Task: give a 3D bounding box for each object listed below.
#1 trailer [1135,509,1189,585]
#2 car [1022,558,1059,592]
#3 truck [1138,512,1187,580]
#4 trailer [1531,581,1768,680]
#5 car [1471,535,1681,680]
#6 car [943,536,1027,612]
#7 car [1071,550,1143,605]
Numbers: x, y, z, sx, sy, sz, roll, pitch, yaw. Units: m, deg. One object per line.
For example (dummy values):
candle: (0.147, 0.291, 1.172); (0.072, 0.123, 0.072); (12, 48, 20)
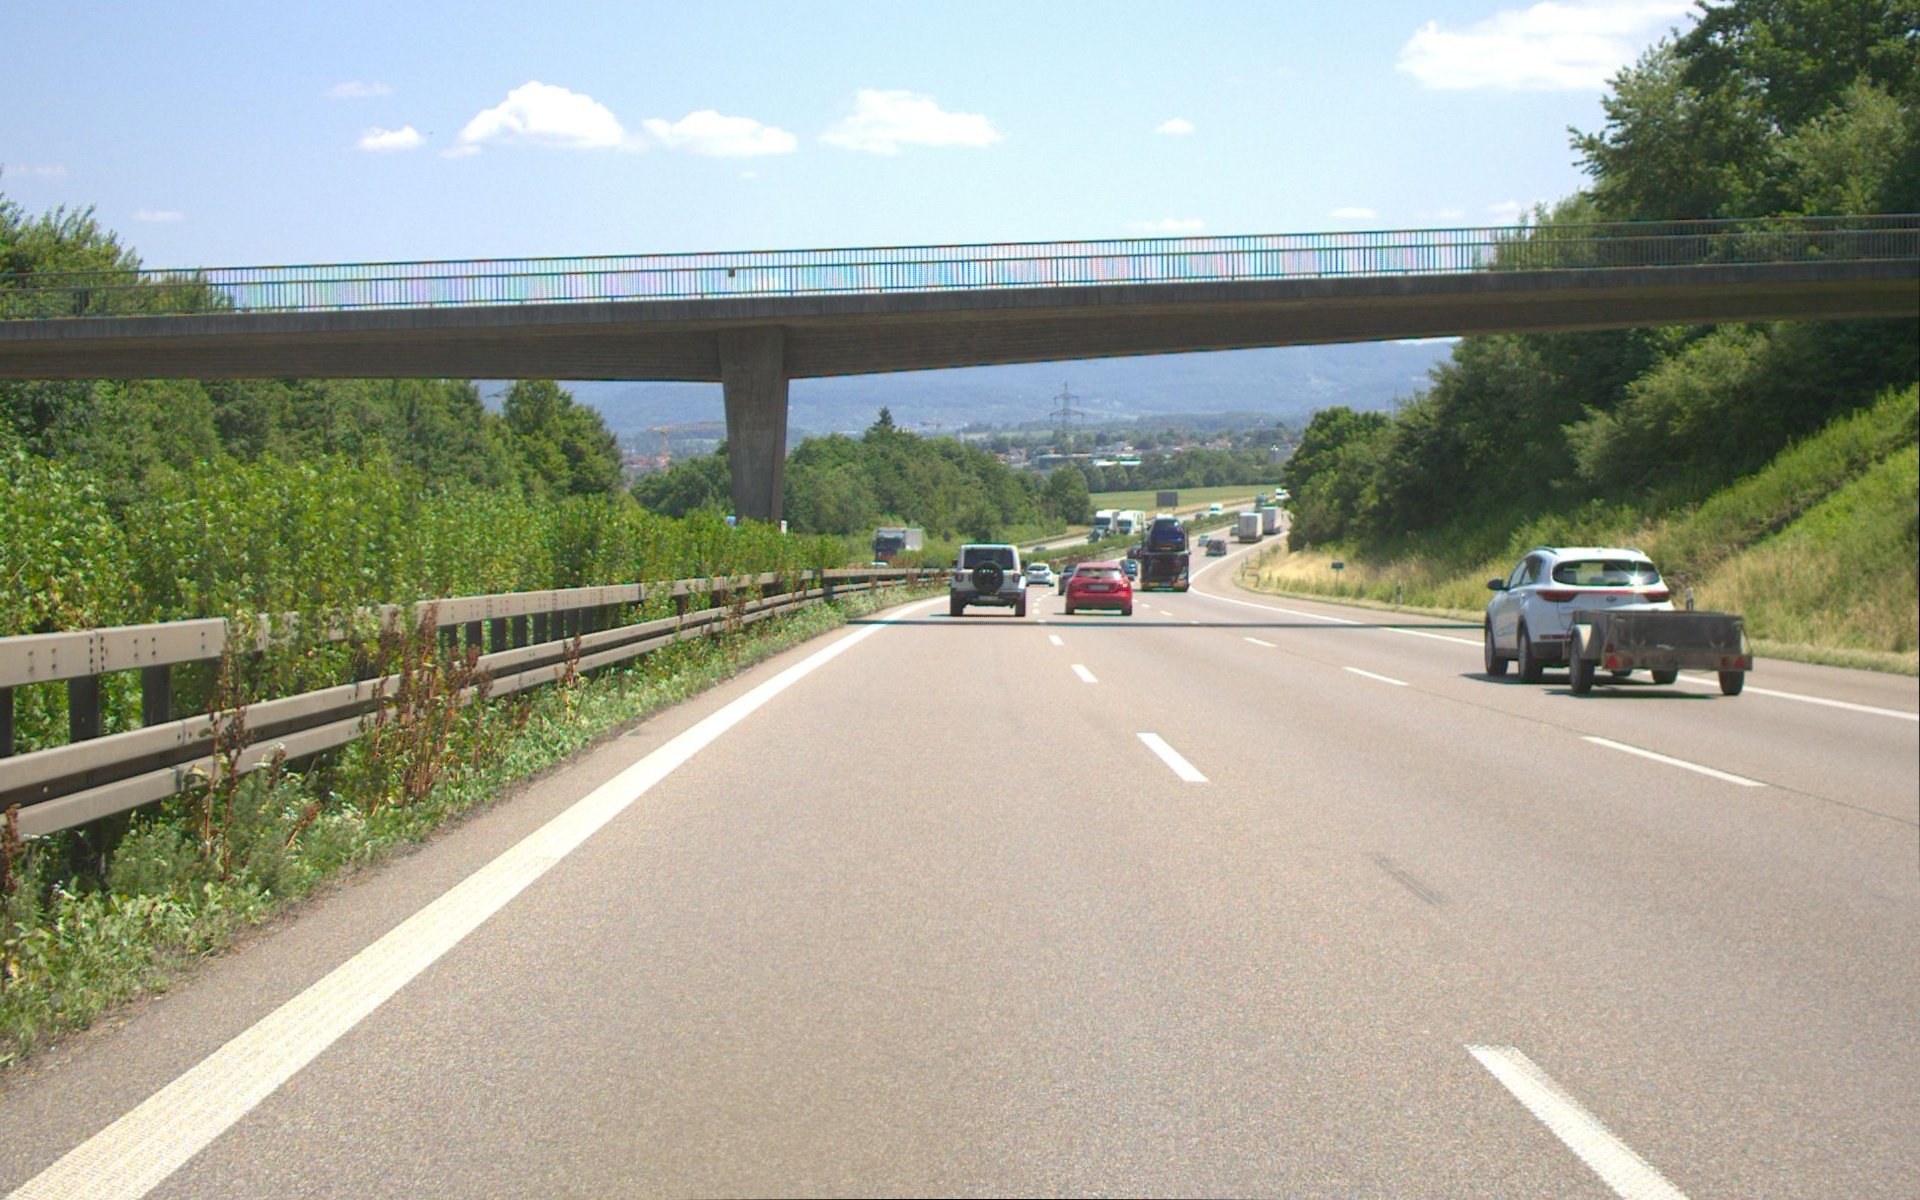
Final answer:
trailer: (11.365, -3.053, 192.272); (2.855, 3.979, 15.396); (1, 2, 4)
car: (5.041, -1.560, 213.728); (1.698, 2.006, 3.821); (1, 2, 11)
truck: (11.794, -3.187, 199.945); (2.754, 3.839, 6.644); (1, 2, 3)
trailer: (7.673, 0.312, 38.626); (1.754, 0.905, 4.320); (1, 2, 0)
car: (7.638, 0.046, 42.988); (1.781, 1.645, 4.403); (1, 2, 0)
car: (0.637, -0.693, 89.043); (2.083, 1.823, 4.754); (1, 2, 0)
car: (3.991, -0.616, 93.569); (1.686, 1.374, 3.949); (1, 2, -1)
